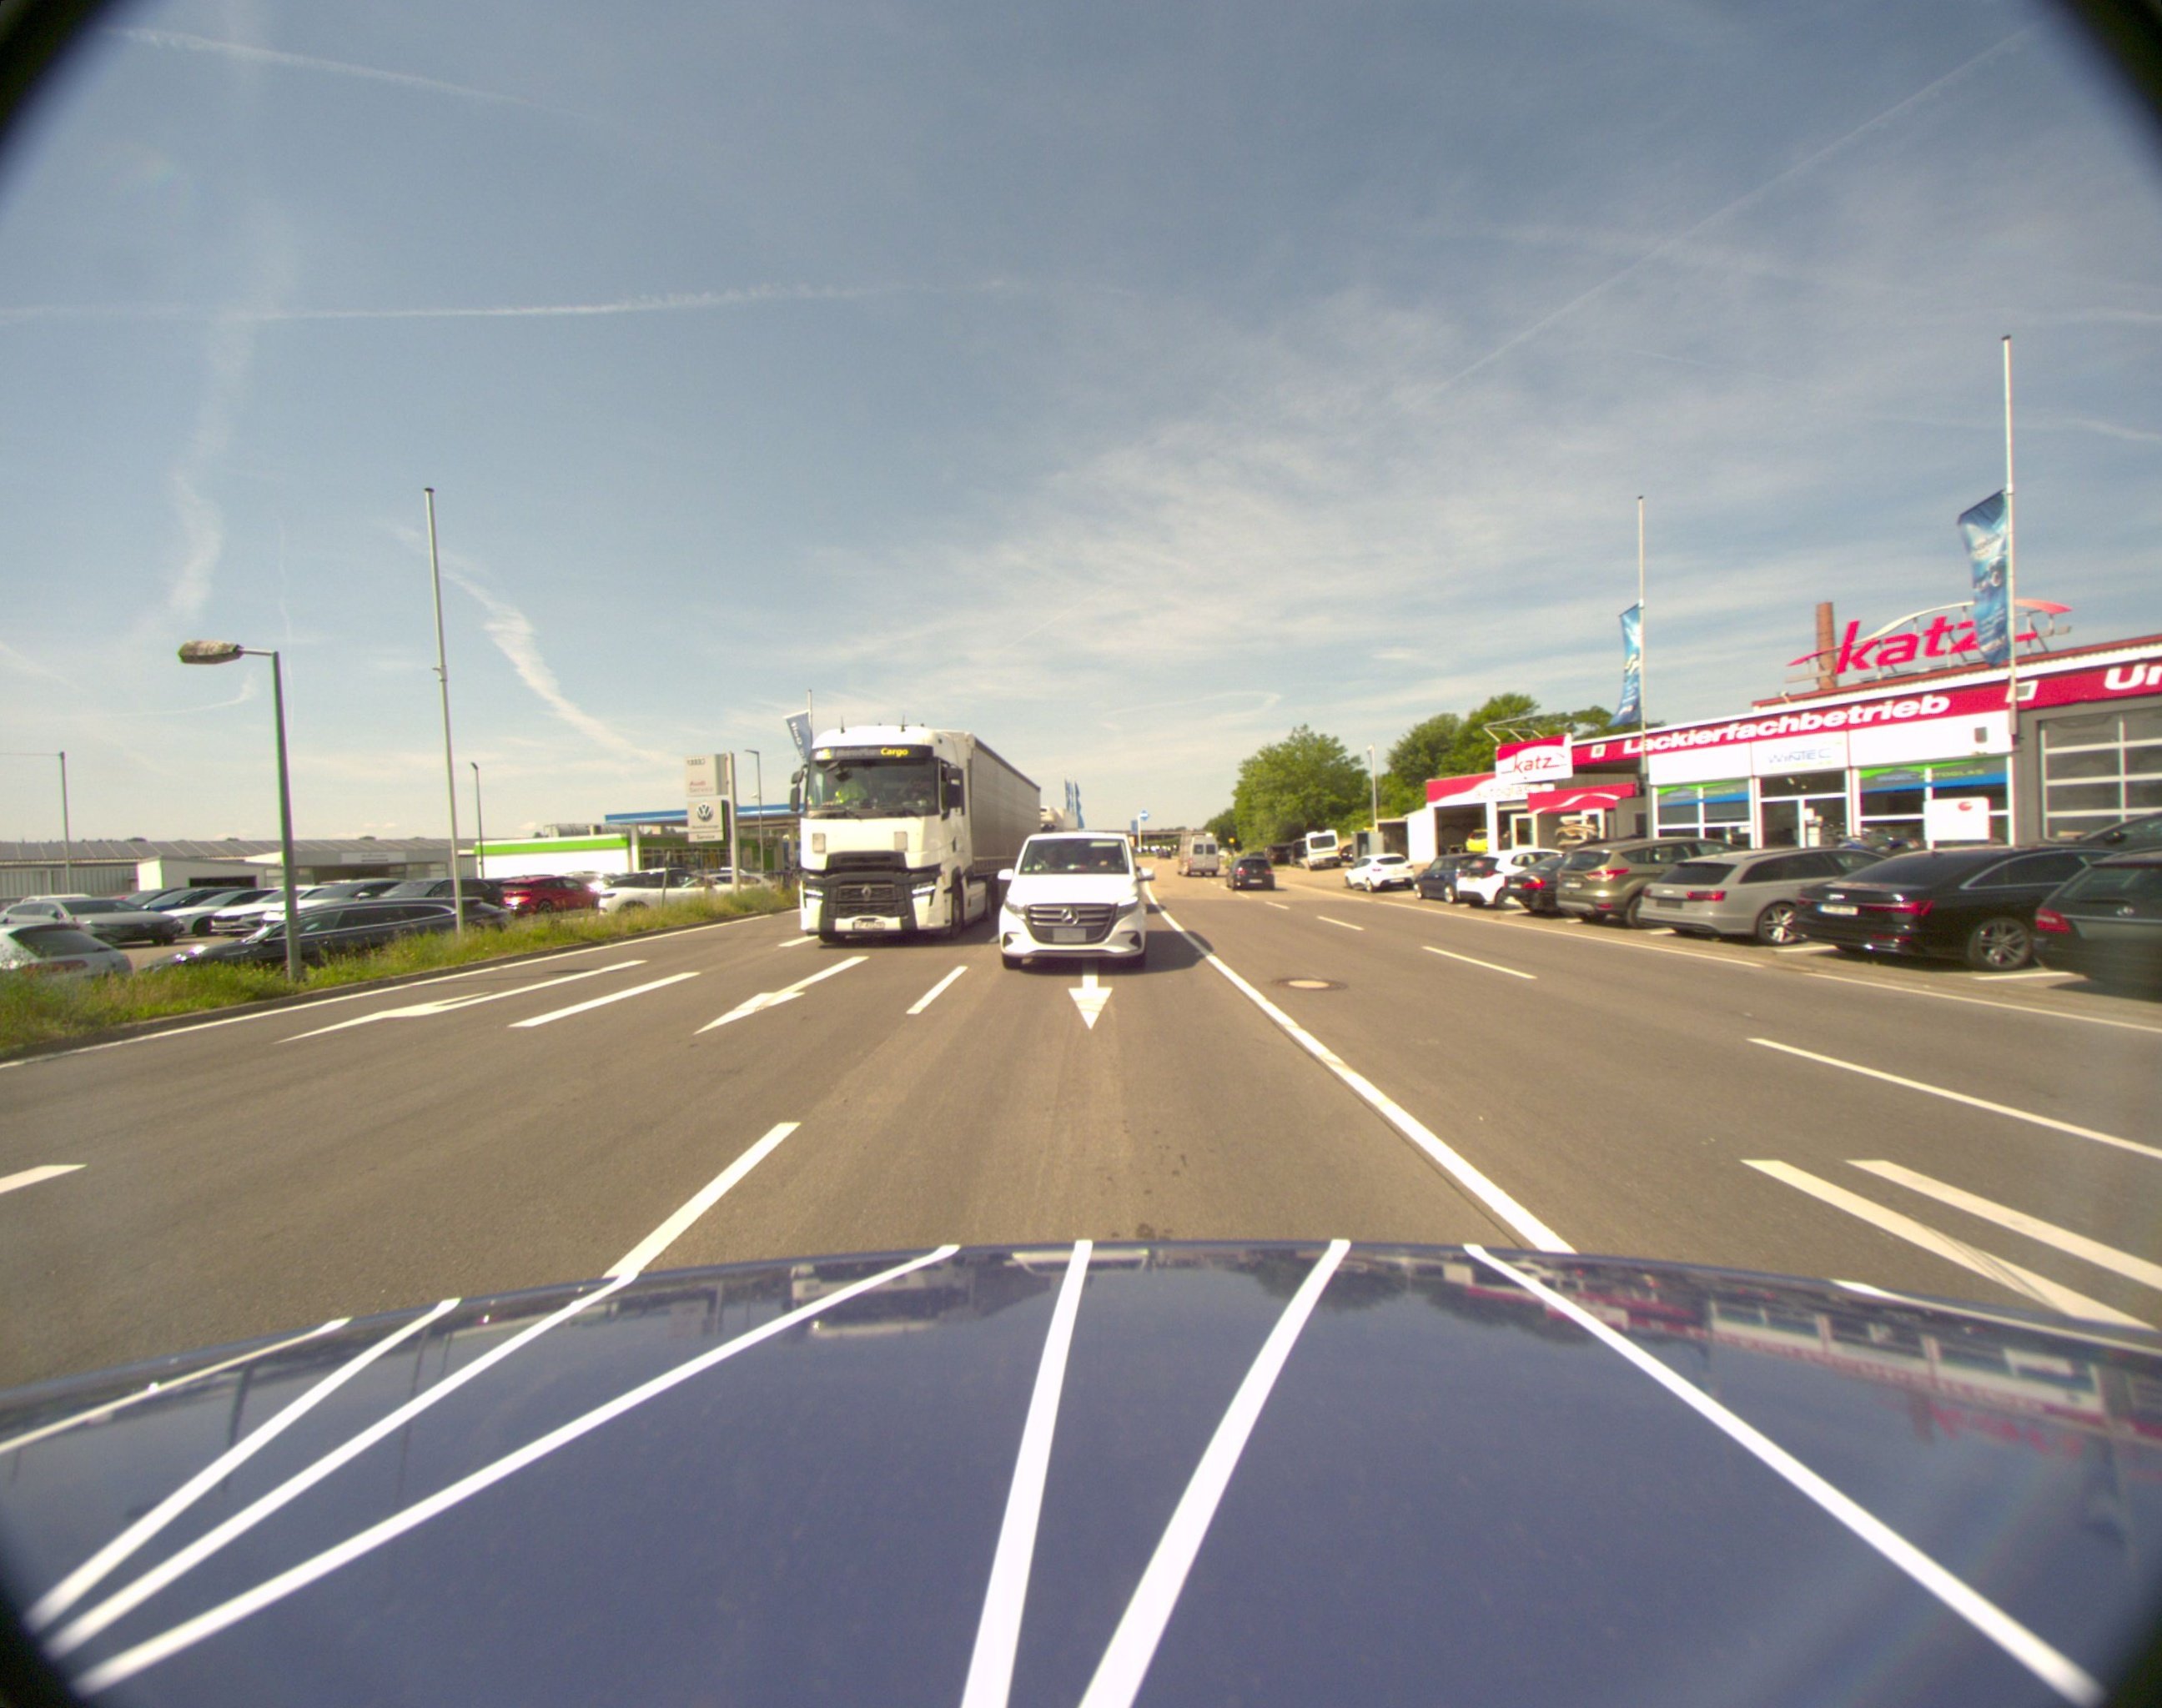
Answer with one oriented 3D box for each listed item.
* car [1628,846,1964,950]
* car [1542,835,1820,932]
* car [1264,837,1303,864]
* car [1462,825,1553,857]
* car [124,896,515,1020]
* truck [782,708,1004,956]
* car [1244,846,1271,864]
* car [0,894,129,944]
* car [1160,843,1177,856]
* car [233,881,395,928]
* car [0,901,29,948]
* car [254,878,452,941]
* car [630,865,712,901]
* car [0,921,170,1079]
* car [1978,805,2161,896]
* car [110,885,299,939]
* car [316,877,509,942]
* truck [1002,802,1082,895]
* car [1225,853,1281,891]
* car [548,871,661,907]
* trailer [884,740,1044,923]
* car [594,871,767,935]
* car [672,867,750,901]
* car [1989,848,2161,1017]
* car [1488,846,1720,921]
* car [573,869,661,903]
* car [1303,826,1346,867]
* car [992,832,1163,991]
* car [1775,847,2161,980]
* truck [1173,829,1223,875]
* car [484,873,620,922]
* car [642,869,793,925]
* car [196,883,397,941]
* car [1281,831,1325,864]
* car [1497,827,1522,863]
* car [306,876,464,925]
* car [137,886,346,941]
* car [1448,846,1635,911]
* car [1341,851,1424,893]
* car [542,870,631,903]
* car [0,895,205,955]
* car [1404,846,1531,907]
[{"bbox_3d":[11.604,0.670,12.517,3.974,1.484,1.739,-2,1,-2],"label":"car"},{"bbox_3d":[11.732,0.549,15.094,3.996,1.717,1.871,-2,1,2],"label":"car"},{"bbox_3d":[18.214,-0.347,68.593,2.438,2.250,5.341,-2,0,5],"label":"car"},{"bbox_3d":[24.262,-0.729,43.269,4.539,1.644,1.873,-2,1,-17],"label":"car"},{"bbox_3d":[-13.001,1.689,13.472,4.545,1.571,1.772,-2,1,-30],"label":"car"},{"bbox_3d":[-3.366,-0.369,15.376,2.647,3.964,6.042,-2,1,3],"label":"truck"},{"bbox_3d":[15.051,0.059,65.091,1.827,1.517,4.461,0,0,8],"label":"car"},{"bbox_3d":[-39.877,2.500,29.800,4.527,1.718,2.072,-1,1,24],"label":"car"},{"bbox_3d":[12.533,-0.611,108.660,2.052,1.812,4.512,0,0,12],"label":"car"},{"bbox_3d":[-32.735,2.107,32.622,1.772,1.645,4.543,-1,1,17],"label":"car"},{"bbox_3d":[-41.051,2.606,27.792,4.527,1.645,2.072,-1,1,24],"label":"car"},{"bbox_3d":[-23.472,1.731,24.788,1.774,1.645,4.540,-1,0,6],"label":"car"},{"bbox_3d":[-22.211,1.539,41.365,1.712,1.703,4.261,-1,0,6],"label":"car"},{"bbox_3d":[-12.871,1.616,7.848,4.005,1.450,1.772,-2,1,-25],"label":"car"},{"bbox_3d":[20.506,-0.095,14.150,1.877,1.644,4.529,-2,0,-16],"label":"car"},{"bbox_3d":[-30.744,1.973,26.858,1.607,1.523,4.131,-1,0,6],"label":"car"},{"bbox_3d":[-20.964,1.668,24.132,1.774,1.645,4.540,-1,0,6],"label":"car"},{"bbox_3d":[-1.699,-0.281,37.468,2.646,3.963,9.241,-1,1,5],"label":"truck"},{"bbox_3d":[7.395,0.740,33.057,1.858,1.452,4.001,-1,0,6],"label":"car"},{"bbox_3d":[-23.259,1.688,37.132,4.532,1.571,1.777,-1,1,8],"label":"car"},{"bbox_3d":[-2.992,-0.558,23.349,2.613,4.203,11.293,-2,0,2],"label":"trailer"},{"bbox_3d":[-12.294,1.438,23.630,4.543,1.645,1.772,-2,1,-26],"label":"car"},{"bbox_3d":[-19.863,1.578,40.956,1.774,1.571,4.149,-1,0,6],"label":"car"},{"bbox_3d":[11.735,0.681,7.176,3.877,1.490,1.949,-2,1,3],"label":"car"},{"bbox_3d":[11.949,0.640,17.566,3.997,1.516,2.000,-2,1,-1],"label":"car"},{"bbox_3d":[-24.988,1.681,41.117,1.774,1.571,4.240,-1,0,6],"label":"car"},{"bbox_3d":[16.543,-0.496,51.339,2.435,2.529,6.050,-2,0,20],"label":"car"},{"bbox_3d":[-0.007,0.672,11.992,1.993,1.858,5.803,-2,0,1],"label":"car"},{"bbox_3d":[11.761,0.701,9.751,3.996,1.474,1.756,-2,1,3],"label":"car"},{"bbox_3d":[7.694,-0.121,50.556,2.442,2.820,6.041,-2,1,1],"label":"truck"},{"bbox_3d":[-20.566,1.642,29.838,1.774,1.571,4.540,-1,0,6],"label":"car"},{"bbox_3d":[-12.539,1.425,26.444,4.543,1.645,1.772,-2,1,-24],"label":"car"},{"bbox_3d":[-25.902,1.856,25.372,1.689,1.517,4.540,-1,0,6],"label":"car"},{"bbox_3d":[18.247,-0.514,62.733,2.438,2.529,5.341,-2,0,5],"label":"car"},{"bbox_3d":[22.036,-0.454,39.091,0.881,1.825,0.846,-2,1,14],"label":"car"},{"bbox_3d":[-28.129,1.813,30.948,1.773,1.645,4.541,-1,0,10],"label":"car"},{"bbox_3d":[-28.203,1.957,25.807,1.774,1.433,4.540,-1,0,6],"label":"car"},{"bbox_3d":[12.182,0.615,20.300,3.798,1.542,1.941,-2,1,-1],"label":"car"},{"bbox_3d":[11.885,0.662,30.217,1.765,1.406,4.000,-5,0,3],"label":"car"},{"bbox_3d":[-27.254,1.736,42.081,1.720,1.571,4.325,-1,0,6],"label":"car"},{"bbox_3d":[-27.689,1.983,21.390,4.530,1.450,1.951,-1,1,12],"label":"car"},{"bbox_3d":[11.782,0.630,23.486,1.998,1.546,4.001,-6,0,4],"label":"car"}]
